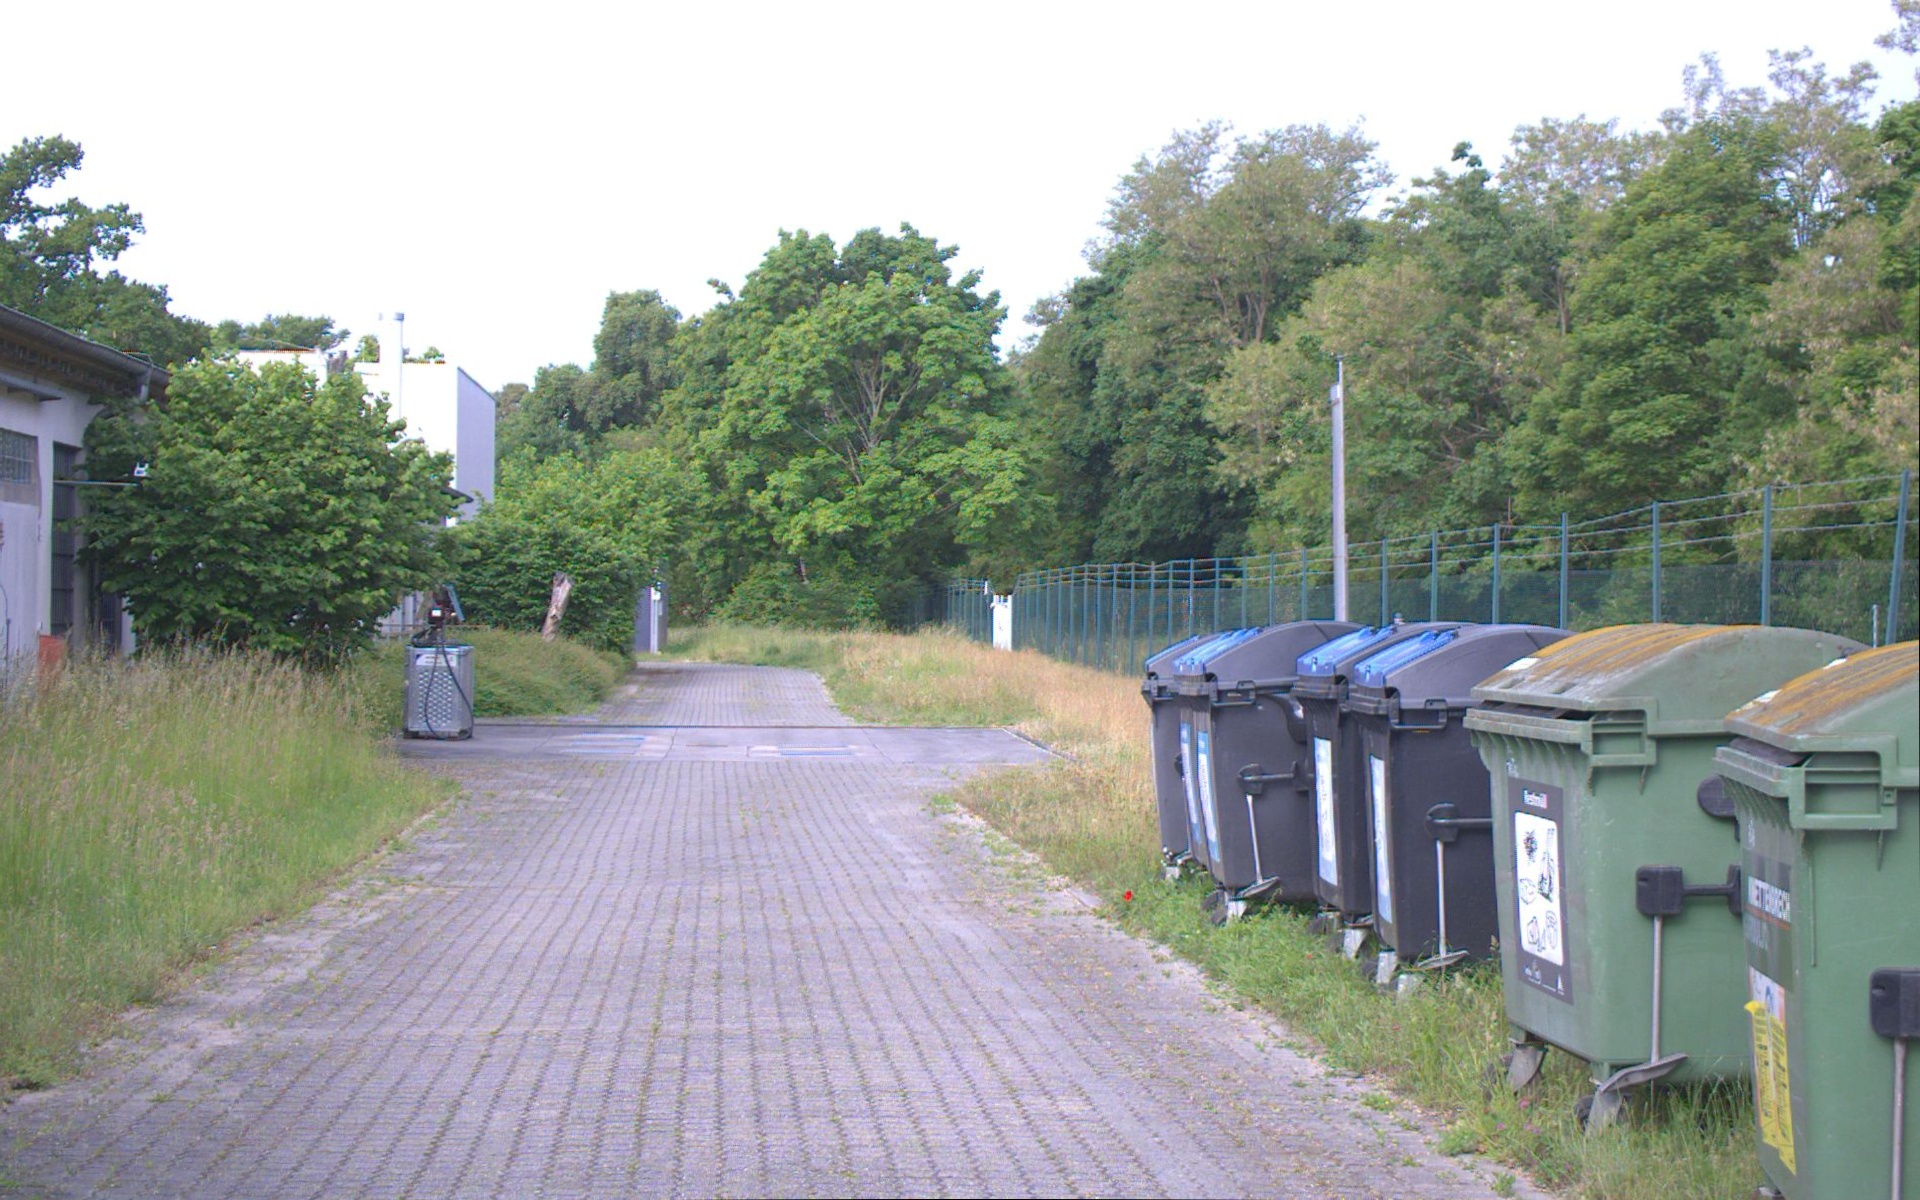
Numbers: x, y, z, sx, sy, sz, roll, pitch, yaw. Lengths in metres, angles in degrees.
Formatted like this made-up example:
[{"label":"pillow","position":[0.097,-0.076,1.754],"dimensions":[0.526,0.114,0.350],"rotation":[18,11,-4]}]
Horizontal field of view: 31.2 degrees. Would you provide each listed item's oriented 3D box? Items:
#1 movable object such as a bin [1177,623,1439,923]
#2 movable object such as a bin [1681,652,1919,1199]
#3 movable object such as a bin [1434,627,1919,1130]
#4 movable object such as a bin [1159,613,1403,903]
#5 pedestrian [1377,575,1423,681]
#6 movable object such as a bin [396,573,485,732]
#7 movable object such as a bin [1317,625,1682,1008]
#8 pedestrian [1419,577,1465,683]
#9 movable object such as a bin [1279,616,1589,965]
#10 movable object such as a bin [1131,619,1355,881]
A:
[{"label":"movable object such as a bin","position":[1.580,0.767,15.872],"dimensions":[1.123,1.317,1.325],"rotation":[0,0,2]},{"label":"movable object such as a bin","position":[2.105,0.811,7.001],"dimensions":[1.123,1.393,1.385],"rotation":[1,-1,7]},{"label":"movable object such as a bin","position":[2.031,0.733,9.596],"dimensions":[1.122,1.292,1.380],"rotation":[1,-1,-4]},{"label":"movable object such as a bin","position":[1.579,0.765,17.176],"dimensions":[1.123,1.375,1.325],"rotation":[1,-1,2]},{"label":"pedestrian","position":[8.420,0.534,65.847],"dimensions":[0.759,2.007,0.664],"rotation":[0,0,-5]},{"label":"movable object such as a bin","position":[-6.524,0.656,43.217],"dimensions":[0.935,1.975,0.853],"rotation":[0,0,5]},{"label":"movable object such as a bin","position":[1.970,0.768,12.803],"dimensions":[1.154,1.320,1.493],"rotation":[1,-1,2]},{"label":"pedestrian","position":[9.215,0.567,65.752],"dimensions":[0.759,2.007,0.664],"rotation":[0,0,-5]},{"label":"movable object such as a bin","position":[1.949,0.765,14.386],"dimensions":[1.123,1.369,1.493],"rotation":[1,-1,2]},{"label":"movable object such as a bin","position":[1.504,0.789,18.588],"dimensions":[1.123,1.346,1.426],"rotation":[1,-1,2]}]
